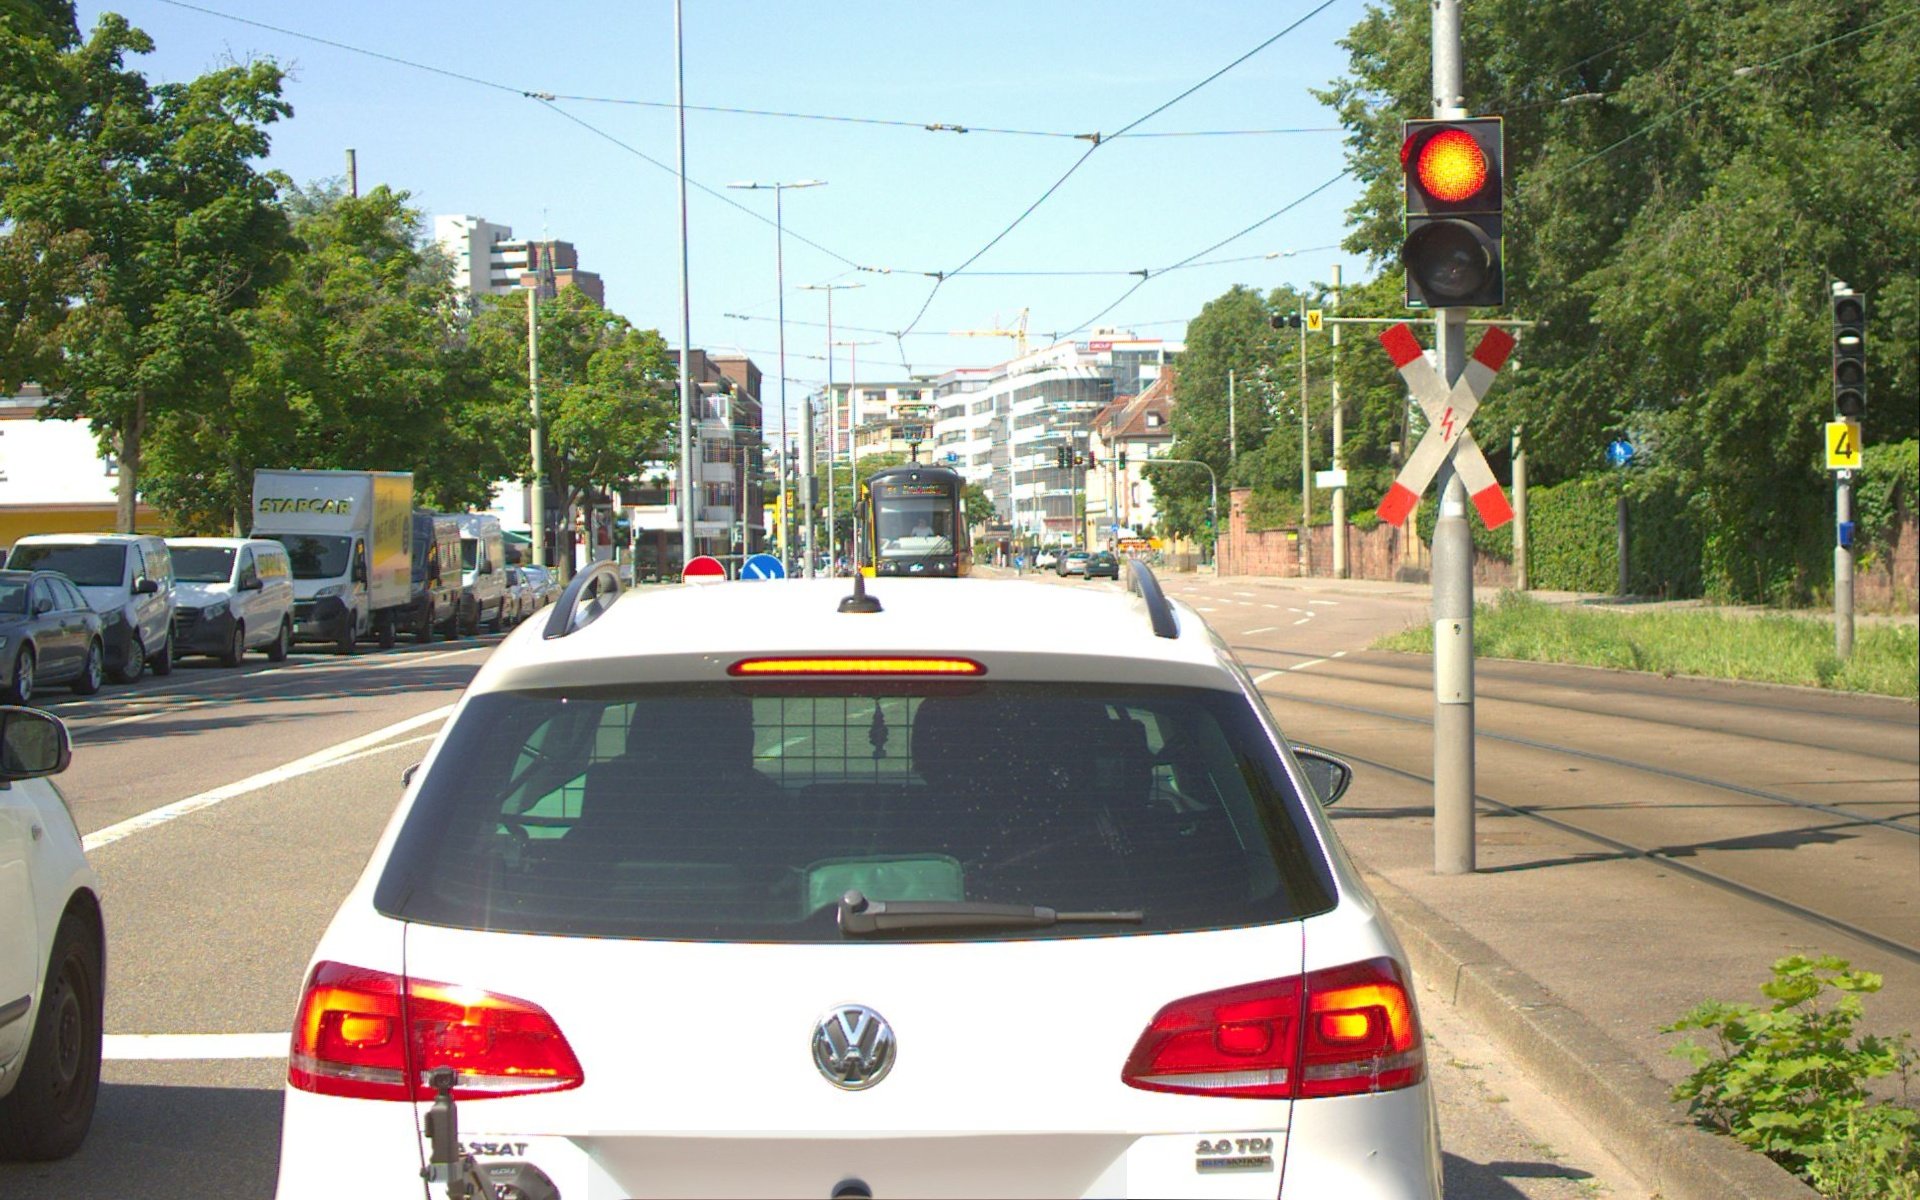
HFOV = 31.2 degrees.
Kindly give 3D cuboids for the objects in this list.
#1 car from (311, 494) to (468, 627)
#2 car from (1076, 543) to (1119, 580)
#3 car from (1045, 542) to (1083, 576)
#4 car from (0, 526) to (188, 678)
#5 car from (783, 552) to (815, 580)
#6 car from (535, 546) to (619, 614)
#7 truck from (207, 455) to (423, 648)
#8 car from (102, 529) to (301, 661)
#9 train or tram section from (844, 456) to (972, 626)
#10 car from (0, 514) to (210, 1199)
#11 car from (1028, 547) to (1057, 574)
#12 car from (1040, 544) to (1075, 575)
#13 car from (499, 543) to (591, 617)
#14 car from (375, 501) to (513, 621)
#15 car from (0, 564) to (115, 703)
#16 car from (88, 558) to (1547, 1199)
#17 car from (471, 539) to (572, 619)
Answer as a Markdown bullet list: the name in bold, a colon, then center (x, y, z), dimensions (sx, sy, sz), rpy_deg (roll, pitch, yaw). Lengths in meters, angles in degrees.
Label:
- **car**: center (-11.279, -0.803, 68.316), dimensions (2.123, 2.508, 5.733), rpy_deg (1, 1, 0)
- **car**: center (7.220, -2.057, 180.960), dimensions (1.863, 1.861, 5.062), rpy_deg (1, 1, -1)
- **car**: center (5.897, -2.347, 196.098), dimensions (1.863, 1.861, 5.062), rpy_deg (1, 1, -1)
- **car**: center (-11.444, -0.026, 45.313), dimensions (1.863, 1.861, 5.075), rpy_deg (1, 1, -6)
- **car**: center (-8.869, -1.906, 189.609), dimensions (1.705, 1.468, 4.589), rpy_deg (-1, 1, -2)
- **car**: center (-10.955, -0.596, 98.600), dimensions (1.863, 1.861, 5.414), rpy_deg (1, 1, -1)
- **truck**: center (-11.212, -0.864, 60.314), dimensions (2.421, 3.139, 6.997), rpy_deg (1, 1, 0)
- **car**: center (-11.376, -0.121, 51.900), dimensions (1.863, 1.861, 5.414), rpy_deg (1, 1, -1)
- **train or tram section**: center (-1.282, -1.484, 85.534), dimensions (2.870, 3.842, 12.392), rpy_deg (-1, 1, -1)
- **car**: center (-2.948, 0.586, 7.361), dimensions (1.662, 1.542, 4.547), rpy_deg (0, 1, 0)
- **car**: center (6.036, -2.914, 251.501), dimensions (1.863, 1.861, 5.062), rpy_deg (1, 1, -1)
- **car**: center (5.964, -2.481, 210.900), dimensions (1.863, 1.861, 5.062), rpy_deg (1, 1, -1)
- **car**: center (-11.032, -0.562, 91.683), dimensions (1.863, 1.861, 5.414), rpy_deg (1, 1, -1)
- **car**: center (-11.318, -0.876, 75.752), dimensions (2.123, 2.508, 5.733), rpy_deg (1, 1, 0)
- **car**: center (-10.969, 0.331, 38.761), dimensions (1.863, 1.411, 4.280), rpy_deg (1, 1, -1)
- **car**: center (-0.186, 0.673, 6.204), dimensions (1.762, 1.425, 4.000), rpy_deg (-1, 1, -1)
- **car**: center (-10.780, -0.553, 84.867), dimensions (1.863, 1.861, 5.414), rpy_deg (1, 1, -1)
